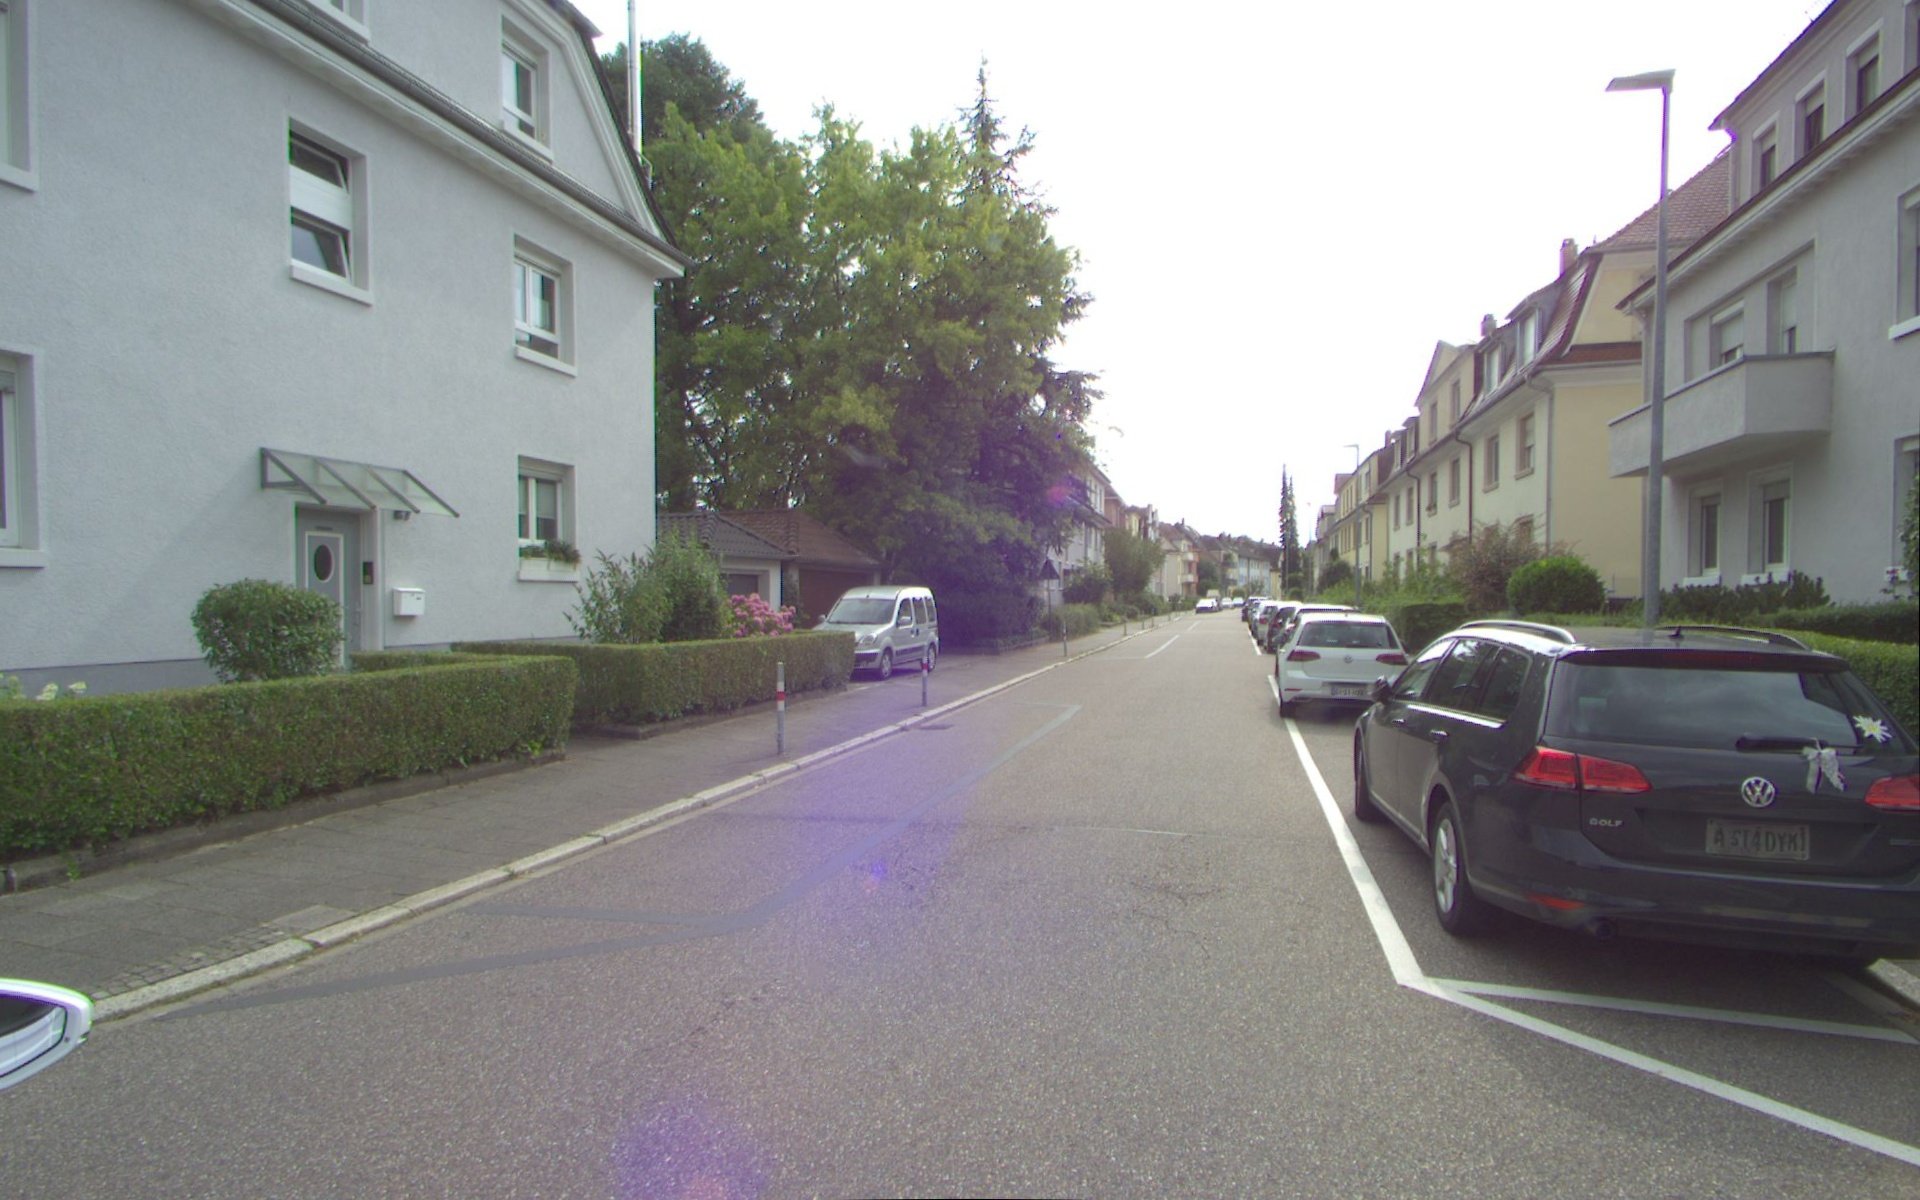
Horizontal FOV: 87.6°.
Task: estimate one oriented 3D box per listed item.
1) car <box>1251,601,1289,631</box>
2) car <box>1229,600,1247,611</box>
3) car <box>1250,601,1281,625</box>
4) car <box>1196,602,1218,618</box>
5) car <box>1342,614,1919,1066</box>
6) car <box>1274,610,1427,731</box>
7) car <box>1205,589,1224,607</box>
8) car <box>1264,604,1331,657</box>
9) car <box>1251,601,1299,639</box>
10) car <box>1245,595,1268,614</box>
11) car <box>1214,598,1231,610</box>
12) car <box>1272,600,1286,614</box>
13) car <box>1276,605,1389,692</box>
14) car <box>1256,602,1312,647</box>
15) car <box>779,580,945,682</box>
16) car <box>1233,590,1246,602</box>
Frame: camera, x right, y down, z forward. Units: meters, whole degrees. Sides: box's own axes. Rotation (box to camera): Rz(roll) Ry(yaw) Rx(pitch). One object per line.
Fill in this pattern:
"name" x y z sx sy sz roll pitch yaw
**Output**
"car" 16.206 0.825 52.444 1.826 1.491 4.168 0 0 17
"car" 41.390 0.815 149.199 1.967 1.556 3.987 -1 0 24
"car" 19.558 0.787 64.202 1.826 1.491 4.168 0 0 17
"car" 26.826 1.095 108.868 1.965 1.662 3.992 0 0 19
"car" 3.421 0.856 5.548 1.825 1.491 4.171 0 0 12
"car" 5.723 0.931 15.117 1.826 1.491 4.168 0 0 17
"car" 30.748 -0.240 120.713 1.964 2.040 3.993 0 0 18
"car" 10.377 0.887 31.036 1.826 1.491 4.168 0 0 17
"car" 13.211 0.810 42.062 1.826 1.491 4.168 0 0 17
"car" 26.002 0.371 87.850 1.826 1.599 4.169 0 0 16
"car" 35.729 0.527 136.425 1.965 1.662 3.992 0 0 19
"car" 51.366 1.110 161.302 1.964 2.040 3.849 -1 0 17
"car" 7.248 0.870 19.842 1.826 1.491 4.168 0 0 17
"car" 11.698 0.839 36.319 1.826 1.491 4.168 0 0 17
"car" -1.859 0.557 20.389 1.964 1.862 3.993 0 0 17
"car" 49.726 -0.695 177.985 1.965 2.152 3.992 0 0 19
